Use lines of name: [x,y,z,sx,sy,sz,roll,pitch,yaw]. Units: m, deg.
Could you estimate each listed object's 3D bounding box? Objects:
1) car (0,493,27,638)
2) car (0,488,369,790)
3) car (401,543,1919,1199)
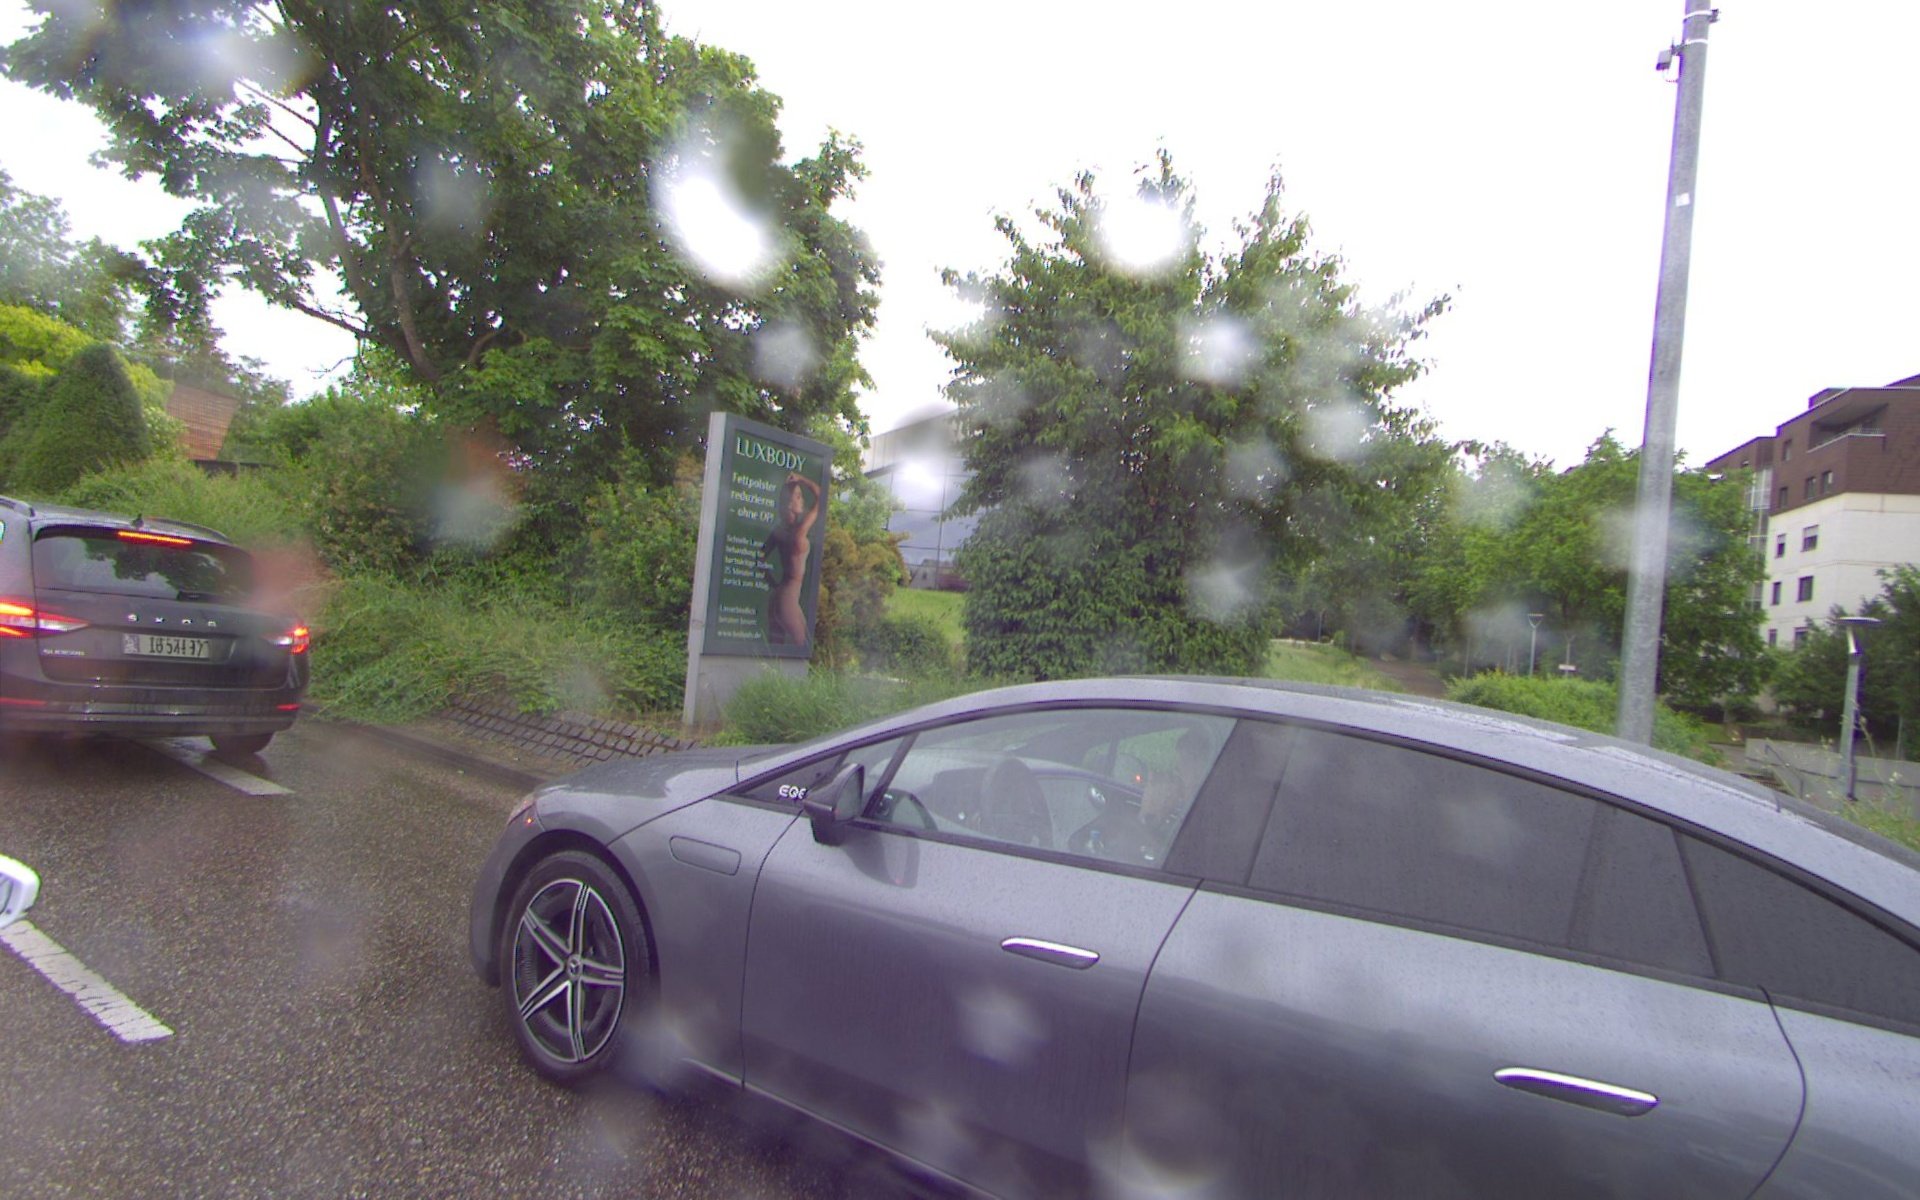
car: [-12.048,-0.658,10.787,4.048,1.483,1.842,7,-2,31]
car: [-6.093,0.063,6.748,4.279,1.483,1.841,7,-2,33]
car: [0.710,0.897,2.914,4.728,1.483,1.842,7,-2,31]
